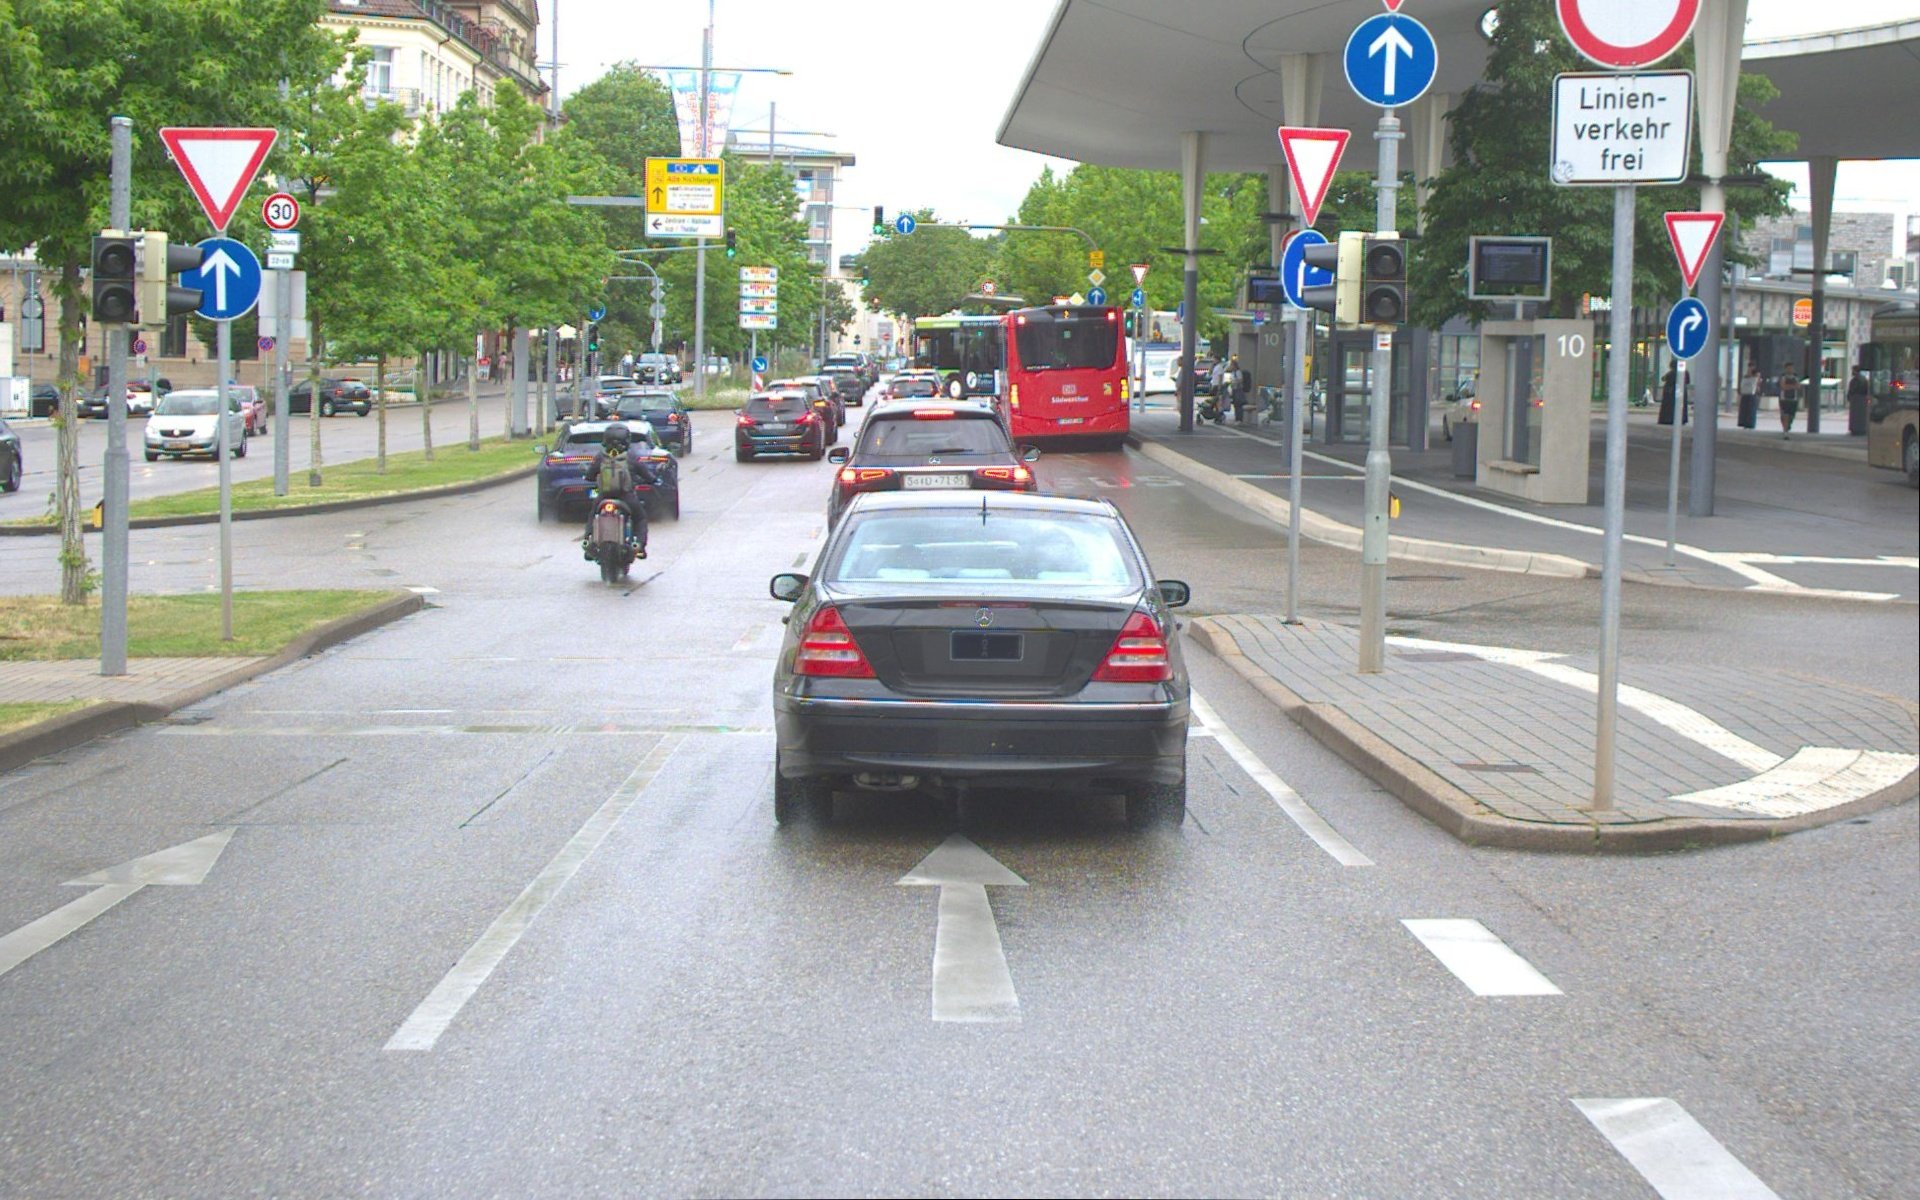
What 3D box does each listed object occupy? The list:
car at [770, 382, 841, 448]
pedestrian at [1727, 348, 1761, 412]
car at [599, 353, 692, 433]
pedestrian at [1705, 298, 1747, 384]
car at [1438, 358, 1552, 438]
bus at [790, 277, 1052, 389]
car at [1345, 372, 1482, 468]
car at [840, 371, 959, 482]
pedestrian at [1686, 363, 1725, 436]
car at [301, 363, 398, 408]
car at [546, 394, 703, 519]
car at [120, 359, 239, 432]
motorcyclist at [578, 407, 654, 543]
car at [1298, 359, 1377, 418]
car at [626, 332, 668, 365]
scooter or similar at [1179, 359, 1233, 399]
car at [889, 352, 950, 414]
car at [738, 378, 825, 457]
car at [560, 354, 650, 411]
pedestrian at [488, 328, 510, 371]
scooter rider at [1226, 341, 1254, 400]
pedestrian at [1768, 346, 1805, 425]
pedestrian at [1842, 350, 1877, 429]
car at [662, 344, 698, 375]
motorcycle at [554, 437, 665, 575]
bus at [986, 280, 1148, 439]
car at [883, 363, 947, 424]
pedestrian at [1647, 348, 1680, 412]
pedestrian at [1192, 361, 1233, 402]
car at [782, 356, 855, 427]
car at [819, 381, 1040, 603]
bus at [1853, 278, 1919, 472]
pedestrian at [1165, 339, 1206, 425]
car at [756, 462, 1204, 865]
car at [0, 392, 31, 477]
[{"bbox_3d":[-4.419,-5.288,98.689,1.865,1.678,4.001,3,2,-1],"label":"car"},{"bbox_3d":[20.001,-5.614,87.651,0.580,1.572,0.560,4,1,34],"label":"pedestrian"},{"bbox_3d":[-6.888,-4.577,75.664,1.676,1.617,3.872,-2,5,-1],"label":"car"},{"bbox_3d":[18.685,-6.315,83.859,0.724,2.007,0.669,4,1,26],"label":"pedestrian"},{"bbox_3d":[11.849,-4.507,76.320,1.711,1.656,4.241,1,4,-2],"label":"car"},{"bbox_3d":[-1.566,-9.800,126.877,2.839,3.973,11.861,-3,5,-40],"label":"bus"},{"bbox_3d":[7.328,-2.938,55.772,1.647,1.448,3.239,0,5,-3],"label":"car"},{"bbox_3d":[-0.930,-2.743,53.701,1.741,1.561,3.872,-2,5,-1],"label":"car"},{"bbox_3d":[16.119,-4.330,74.331,0.598,1.576,0.712,0,2,-10],"label":"pedestrian"},{"bbox_3d":[-22.145,-7.772,124.678,1.728,1.555,3.767,-1,3,-42],"label":"car"},{"bbox_3d":[-4.758,-2.095,49.236,1.816,1.565,4.405,-2,5,-1],"label":"car"},{"bbox_3d":[-18.336,-4.836,80.957,1.847,1.646,4.420,0,4,-1],"label":"car"},{"bbox_3d":[-3.457,-1.264,34.601,0.641,1.342,0.689,0,4,3],"label":"motorcyclist"},{"bbox_3d":[11.118,-6.263,101.417,1.711,1.656,4.241,1,4,-2],"label":"car"},{"bbox_3d":[-15.815,-12.729,173.703,1.780,1.561,3.431,-2,5,-1],"label":"car"},{"bbox_3d":[6.246,-5.600,87.268,1.243,1.009,0.764,1,4,13],"label":"scooter or similar"},{"bbox_3d":[-1.094,-5.919,93.434,1.575,1.561,3.872,-2,5,-1],"label":"car"},{"bbox_3d":[-3.745,-3.870,72.464,1.575,1.499,3.872,-2,5,0],"label":"car"},{"bbox_3d":[-11.449,-6.989,110.753,1.865,1.678,4.002,3,2,-20],"label":"car"},{"bbox_3d":[-21.425,-11.648,159.847,0.724,2.006,0.826,-3,5,-27],"label":"pedestrian"},{"bbox_3d":[7.085,-5.805,87.085,0.592,1.484,0.764,1,4,13],"label":"scooter rider"},{"bbox_3d":[17.953,-4.658,74.680,0.560,1.686,0.614,0,4,-7],"label":"pedestrian"},{"bbox_3d":[21.370,-5.008,81.690,0.590,1.867,0.715,3,5,28],"label":"pedestrian"},{"bbox_3d":[-14.630,-12.584,179.834,1.575,1.561,3.431,-2,5,-1],"label":"car"},{"bbox_3d":[-3.485,-0.955,34.297,0.793,1.257,1.855,-1,4,3],"label":"motorcycle"},{"bbox_3d":[2.283,-5.451,77.360,3.286,3.280,10.881,-1,4,0],"label":"bus"},{"bbox_3d":[-1.439,-6.488,108.487,1.865,1.678,4.001,3,2,-1],"label":"car"},{"bbox_3d":[17.911,-5.602,87.475,0.580,1.572,0.560,4,1,29],"label":"pedestrian"},{"bbox_3d":[6.393,-5.542,87.150,0.914,0.981,0.633,2,0,13],"label":"pedestrian"},{"bbox_3d":[-3.352,-4.991,82.103,1.575,1.561,3.872,-2,5,-1],"label":"car"},{"bbox_3d":[-0.308,-1.136,33.734,1.957,1.869,4.875,-2,5,-1],"label":"car"},{"bbox_3d":[16.464,-3.379,51.727,2.721,3.032,12.093,-1,4,-1],"label":"bus"},{"bbox_3d":[5.444,-5.269,82.969,0.778,2.006,0.781,4,5,12],"label":"pedestrian"},{"bbox_3d":[0.032,0.156,15.241,1.697,1.457,4.305,-1,3,-1],"label":"car"},{"bbox_3d":[-18.056,-2.915,60.903,1.847,1.499,4.921,0,4,0],"label":"car"}]
